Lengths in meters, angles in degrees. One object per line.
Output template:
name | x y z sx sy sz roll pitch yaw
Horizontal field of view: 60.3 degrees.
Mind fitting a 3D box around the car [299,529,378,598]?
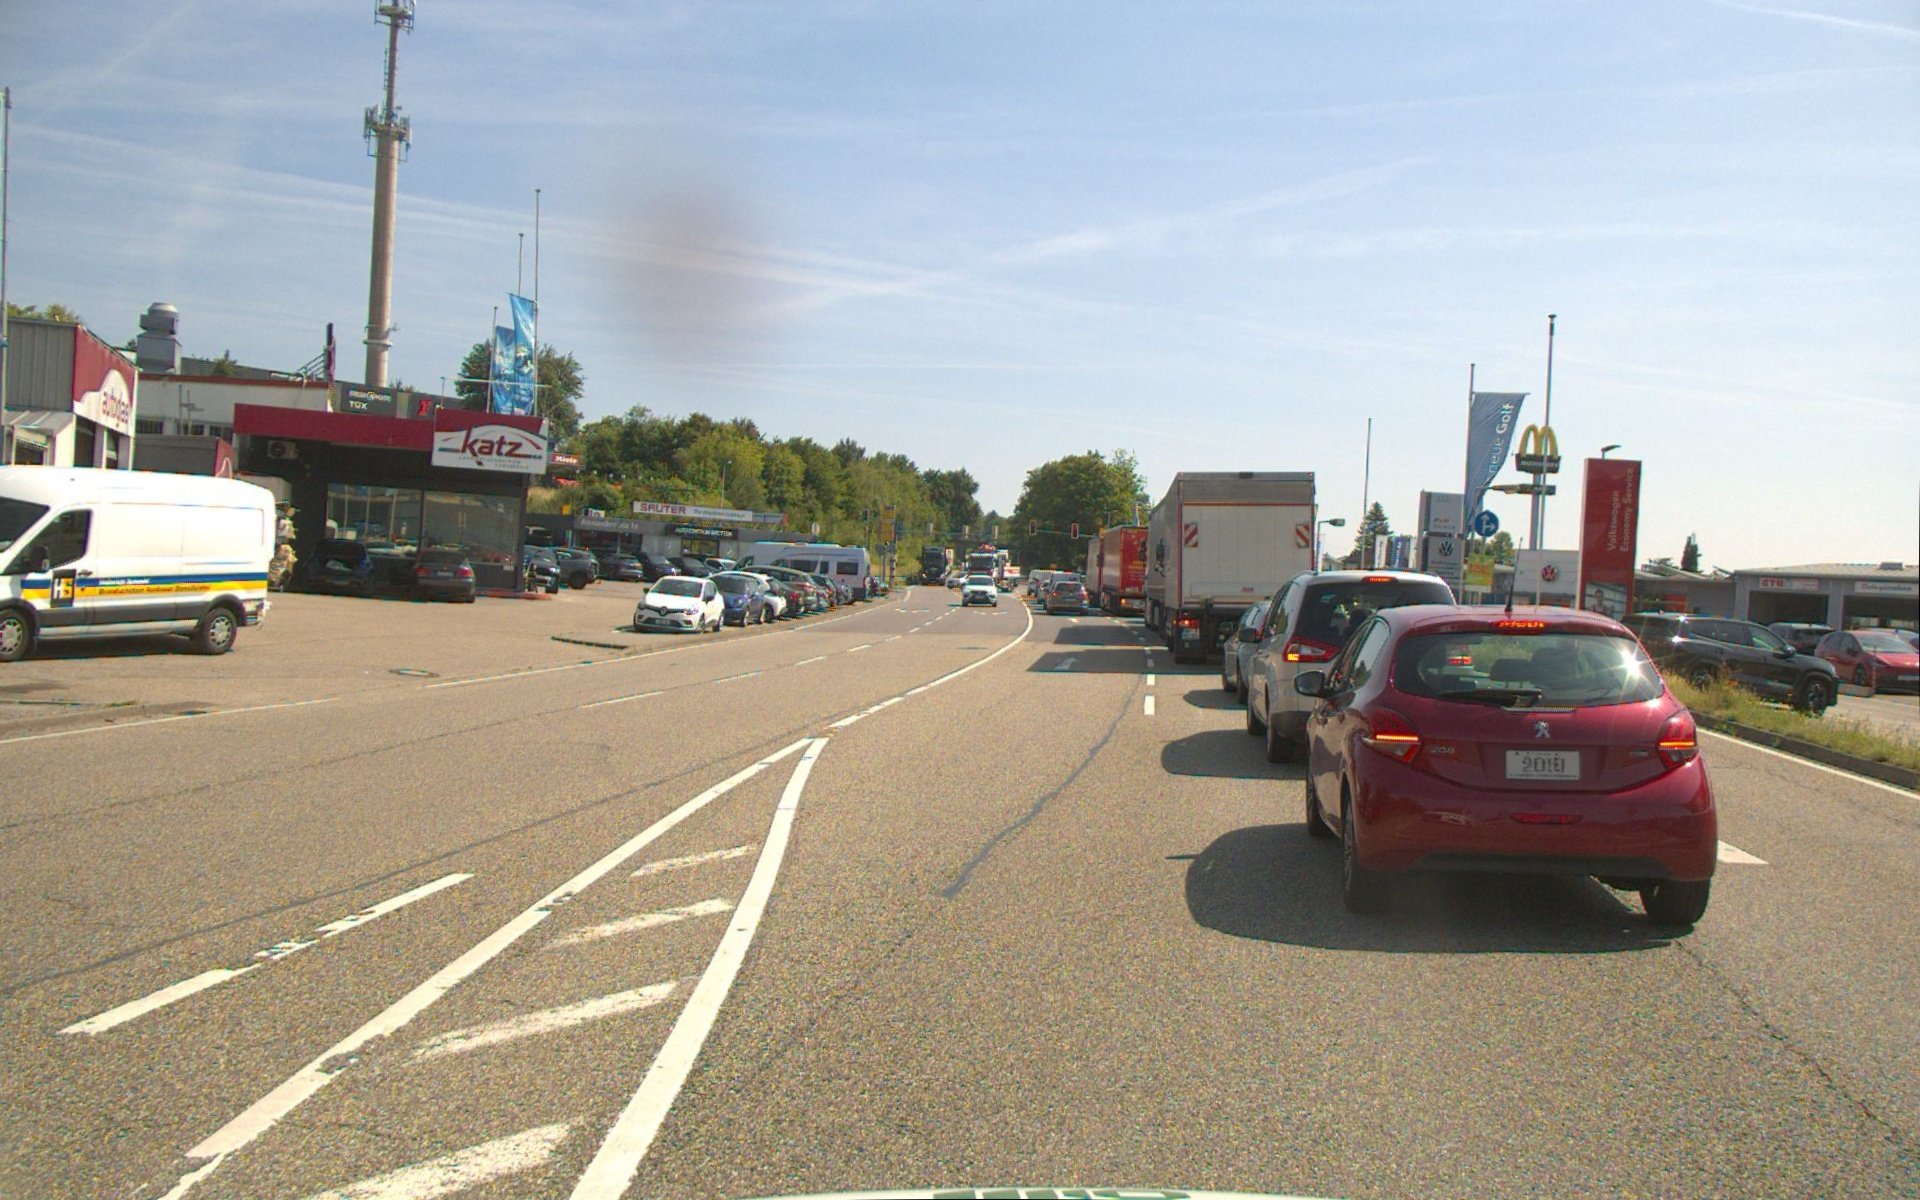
car | -17.143 -1.045 45.704 1.827 1.530 3.978 6 2 -21

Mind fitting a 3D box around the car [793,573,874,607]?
car | -5.913 -0.470 77.486 3.519 1.506 1.813 1 1 3

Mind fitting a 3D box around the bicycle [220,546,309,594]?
bicycle | -17.735 -0.756 42.188 1.962 0.988 0.413 7 -1 -19

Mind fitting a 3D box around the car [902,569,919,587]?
car | -6.031 -2.688 201.366 1.954 2.048 3.998 3 0 -3

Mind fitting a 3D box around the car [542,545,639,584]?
car | -15.930 -1.532 71.272 3.881 1.559 1.758 1 1 -21

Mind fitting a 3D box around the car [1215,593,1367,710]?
car | 4.695 0.666 23.954 1.698 1.453 4.228 3 1 6

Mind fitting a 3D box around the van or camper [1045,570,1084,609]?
van or camper | 5.539 -0.567 87.906 1.814 1.938 3.786 3 1 1

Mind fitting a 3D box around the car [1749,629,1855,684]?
car | 24.659 1.628 48.543 1.525 1.434 3.598 1 0 5

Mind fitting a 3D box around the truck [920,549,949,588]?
truck | -2.669 -3.262 171.270 2.756 3.852 6.988 1 1 -2

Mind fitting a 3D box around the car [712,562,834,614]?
car | -6.963 -0.462 61.918 4.191 1.510 1.836 6 1 0

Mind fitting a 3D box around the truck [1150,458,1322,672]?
truck | 5.753 -0.719 36.298 2.818 3.877 11.149 2 1 5

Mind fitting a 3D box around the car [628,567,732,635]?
car | -7.377 -0.006 43.910 1.742 1.646 4.002 3 1 4

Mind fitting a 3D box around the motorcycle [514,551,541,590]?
motorcycle | -14.621 -0.997 55.898 0.758 1.283 2.045 1 1 -18

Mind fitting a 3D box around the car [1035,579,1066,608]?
car | 5.299 -0.381 96.782 1.691 1.545 3.313 3 0 2

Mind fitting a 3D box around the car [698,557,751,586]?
car | -13.864 -1.685 97.300 1.745 1.616 3.790 1 1 -31

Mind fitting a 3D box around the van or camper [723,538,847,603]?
van or camper | -8.664 -1.480 82.455 5.770 2.923 2.290 2 1 2

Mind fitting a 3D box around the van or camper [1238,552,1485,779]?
van or camper | 3.788 0.525 16.430 1.710 1.818 5.137 3 1 7

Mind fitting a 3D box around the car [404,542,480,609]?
car | -14.758 -0.737 47.008 1.826 1.530 4.373 5 2 -20

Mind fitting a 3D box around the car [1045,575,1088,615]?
car | 4.701 -0.234 72.523 1.752 1.667 3.506 2 1 5

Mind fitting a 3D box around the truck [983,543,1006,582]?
truck | 4.092 -4.382 194.917 2.500 4.382 7.598 1 1 2

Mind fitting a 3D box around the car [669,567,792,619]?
car | -7.499 -0.248 54.211 3.718 1.552 1.847 2 1 0

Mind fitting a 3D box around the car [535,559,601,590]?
car | -21.825 -1.433 92.026 3.762 1.616 1.758 3 1 42

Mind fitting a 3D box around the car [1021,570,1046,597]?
car | 5.719 -1.260 128.396 1.690 1.942 3.314 3 0 5

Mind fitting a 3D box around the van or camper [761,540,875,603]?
van or camper | -6.824 -1.395 79.939 5.136 2.778 2.211 2 1 3

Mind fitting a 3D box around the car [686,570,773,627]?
car | -7.060 -0.070 51.042 1.743 1.519 3.784 6 1 4

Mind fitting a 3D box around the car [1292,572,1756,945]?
car | 2.841 0.675 9.140 1.762 1.599 3.717 1 0 8

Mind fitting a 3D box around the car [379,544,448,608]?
car | -17.341 -0.779 52.390 1.676 1.789 3.737 5 0 -22

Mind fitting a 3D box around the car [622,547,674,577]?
car | -17.861 -2.172 94.644 1.745 1.616 3.790 1 1 -31

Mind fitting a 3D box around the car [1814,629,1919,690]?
car | 24.253 1.551 43.957 1.525 1.434 3.598 1 0 5

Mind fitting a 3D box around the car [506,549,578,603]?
car | -15.265 -0.863 60.263 1.797 1.703 4.099 8 -2 -22

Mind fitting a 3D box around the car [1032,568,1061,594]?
car | 5.560 -1.218 105.987 1.691 1.545 3.314 3 0 4

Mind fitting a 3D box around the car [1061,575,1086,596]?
car | 8.700 -1.100 126.835 1.691 1.545 3.313 3 0 1

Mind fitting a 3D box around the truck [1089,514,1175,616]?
truck | 8.241 -1.674 81.249 2.896 4.343 16.589 2 1 2

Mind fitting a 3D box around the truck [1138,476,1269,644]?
truck | 7.347 -1.163 52.230 2.829 4.340 16.719 2 1 4

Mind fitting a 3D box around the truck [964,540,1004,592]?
truck | 2.063 -2.851 140.111 2.894 4.282 10.652 0 1 3

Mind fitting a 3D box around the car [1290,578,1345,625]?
car | 14.391 0.063 66.785 1.951 1.780 4.003 3 0 10

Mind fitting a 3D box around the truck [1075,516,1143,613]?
truck | 9.001 -2.153 101.812 2.999 5.311 17.012 2 1 2

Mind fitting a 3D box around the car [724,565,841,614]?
car | -7.122 -0.429 66.550 4.369 1.510 1.772 6 1 0

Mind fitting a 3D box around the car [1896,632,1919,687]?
car | 26.445 1.614 43.778 1.525 1.434 3.598 1 0 5

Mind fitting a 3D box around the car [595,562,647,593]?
car | -19.027 -1.266 92.726 1.745 1.616 3.790 1 1 -31

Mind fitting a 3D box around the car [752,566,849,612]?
car | -6.686 -0.474 69.474 3.767 1.510 1.802 6 1 0

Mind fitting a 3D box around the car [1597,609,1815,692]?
car | 13.647 0.906 30.280 3.529 1.434 1.555 1 0 -19

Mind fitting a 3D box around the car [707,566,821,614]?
car | -6.665 -0.353 56.512 3.631 1.552 1.792 1 1 0

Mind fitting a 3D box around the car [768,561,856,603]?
car | -6.612 -0.818 74.100 3.633 1.510 1.708 6 1 0

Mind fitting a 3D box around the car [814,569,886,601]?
car | -5.953 -0.821 89.847 3.738 1.566 1.843 2 1 1

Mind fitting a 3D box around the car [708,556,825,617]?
car | -6.884 -0.487 59.114 3.808 1.745 1.807 6 1 0

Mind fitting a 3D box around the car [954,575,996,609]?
car | 0.814 -0.422 85.961 1.894 1.703 4.003 0 1 5

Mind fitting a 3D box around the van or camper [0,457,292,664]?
van or camper | -12.233 -0.583 22.842 2.110 2.541 5.953 6 2 17

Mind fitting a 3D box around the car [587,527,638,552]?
car | -22.155 -3.851 105.347 1.719 1.476 3.697 3 0 -38
